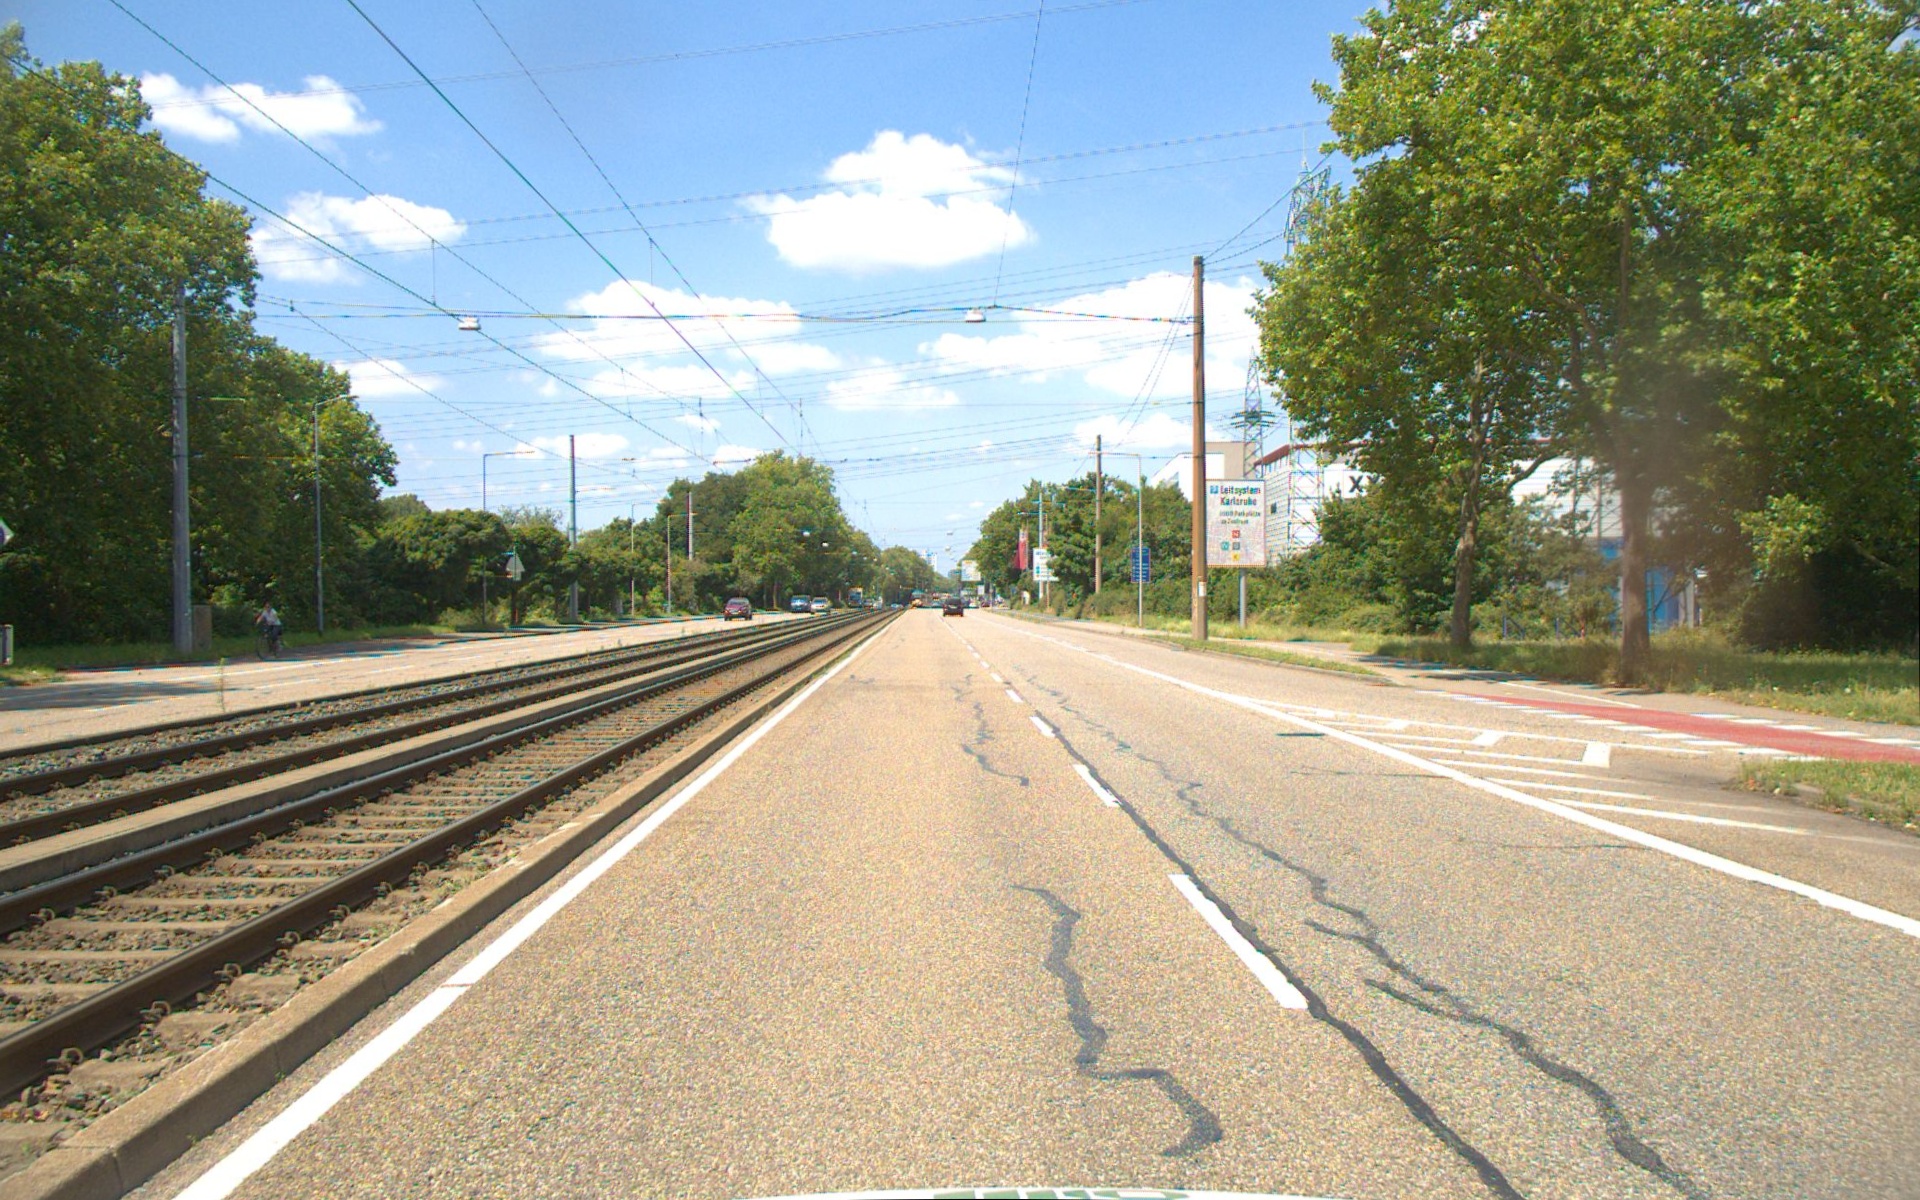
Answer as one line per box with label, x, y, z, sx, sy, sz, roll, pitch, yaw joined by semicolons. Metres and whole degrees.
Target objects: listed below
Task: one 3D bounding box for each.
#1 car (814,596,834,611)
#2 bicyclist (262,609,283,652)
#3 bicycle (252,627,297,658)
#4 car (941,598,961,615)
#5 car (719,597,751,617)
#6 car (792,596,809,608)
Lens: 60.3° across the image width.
car;-13.410;0.298;162.893;1.681;1.453;3.900;0;0;-1
bicyclist;-20.812;0.912;50.078;0.445;1.295;0.398;0;0;1
bicycle;-20.801;1.284;50.201;0.505;0.872;1.932;0;0;2
car;-0.807;0.569;141.909;1.554;1.366;3.271;-1;1;-3
car;-16.672;0.518;122.601;1.837;1.355;3.917;-2;0;-1
car;-17.898;0.210;185.563;1.569;1.295;3.835;0;0;-1
